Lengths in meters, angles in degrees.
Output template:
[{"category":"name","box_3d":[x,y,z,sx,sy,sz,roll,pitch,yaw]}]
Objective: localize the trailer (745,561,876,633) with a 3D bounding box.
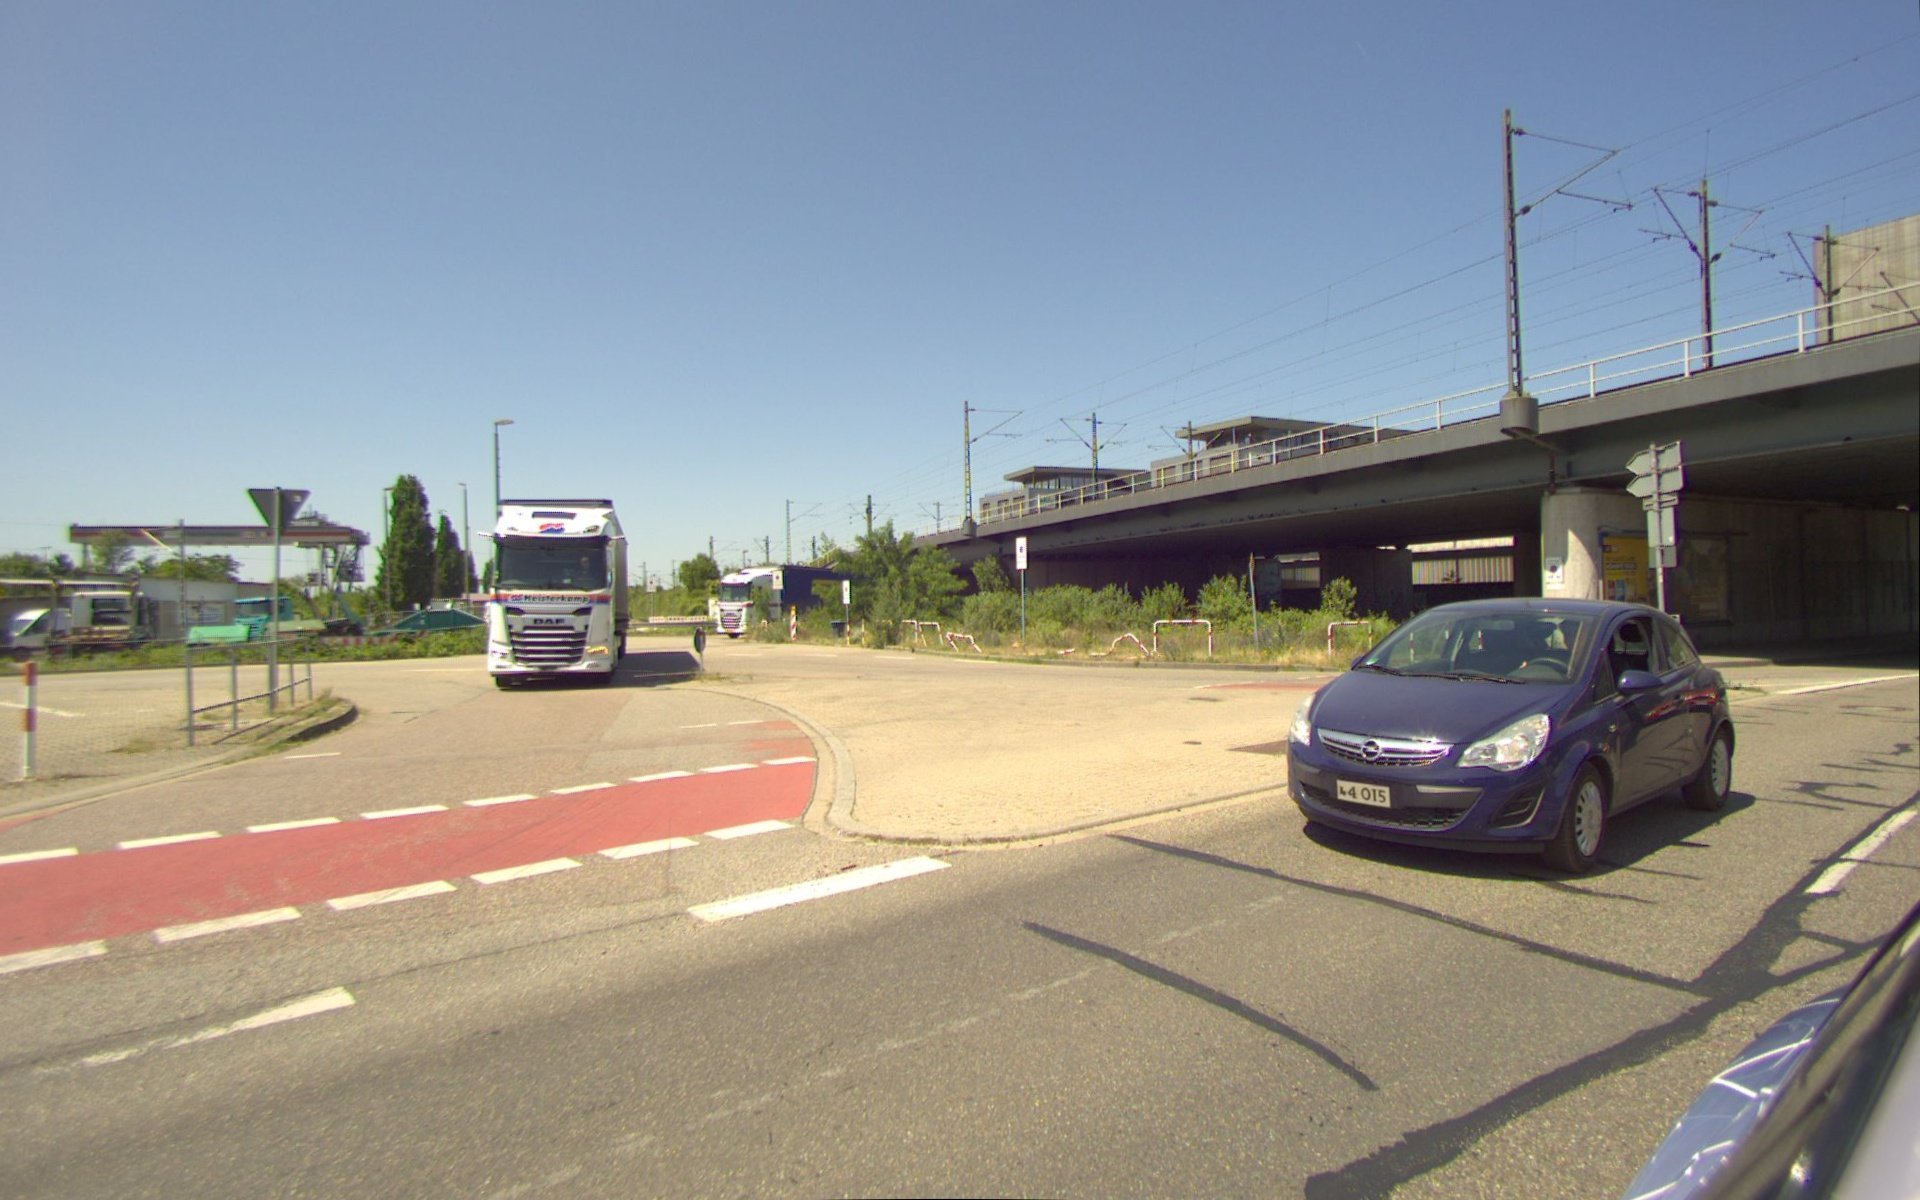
[{"category":"trailer","box_3d":[-9.181,-0.233,63.664,2.558,4.176,9.942,0,0,30]}]

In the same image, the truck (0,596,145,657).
[{"category":"truck","box_3d":[-44.901,1.248,50.632,2.615,2.825,6.076,0,0,17]}]

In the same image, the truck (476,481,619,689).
[{"category":"truck","box_3d":[-9.318,-0.335,23.404,2.522,4.153,5.774,0,0,-17]}]

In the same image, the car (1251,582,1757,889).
[{"category":"car","box_3d":[3.741,0.654,6.690,3.821,1.462,1.649,0,0,-40]}]

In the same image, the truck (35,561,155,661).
[{"category":"truck","box_3d":[-32.750,0.400,38.585,2.670,3.424,7.402,0,0,-34]}]

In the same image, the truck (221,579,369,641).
[{"category":"truck","box_3d":[-39.092,0.511,59.841,2.761,3.411,7.527,0,0,13]}]

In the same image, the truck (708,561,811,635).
[{"category":"truck","box_3d":[-11.663,-0.143,59.380,2.572,4.089,6.140,0,0,30]}]

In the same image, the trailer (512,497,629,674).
[{"category":"trailer","box_3d":[-11.418,-0.276,30.702,2.447,4.142,13.932,-1,-1,-18]}]
